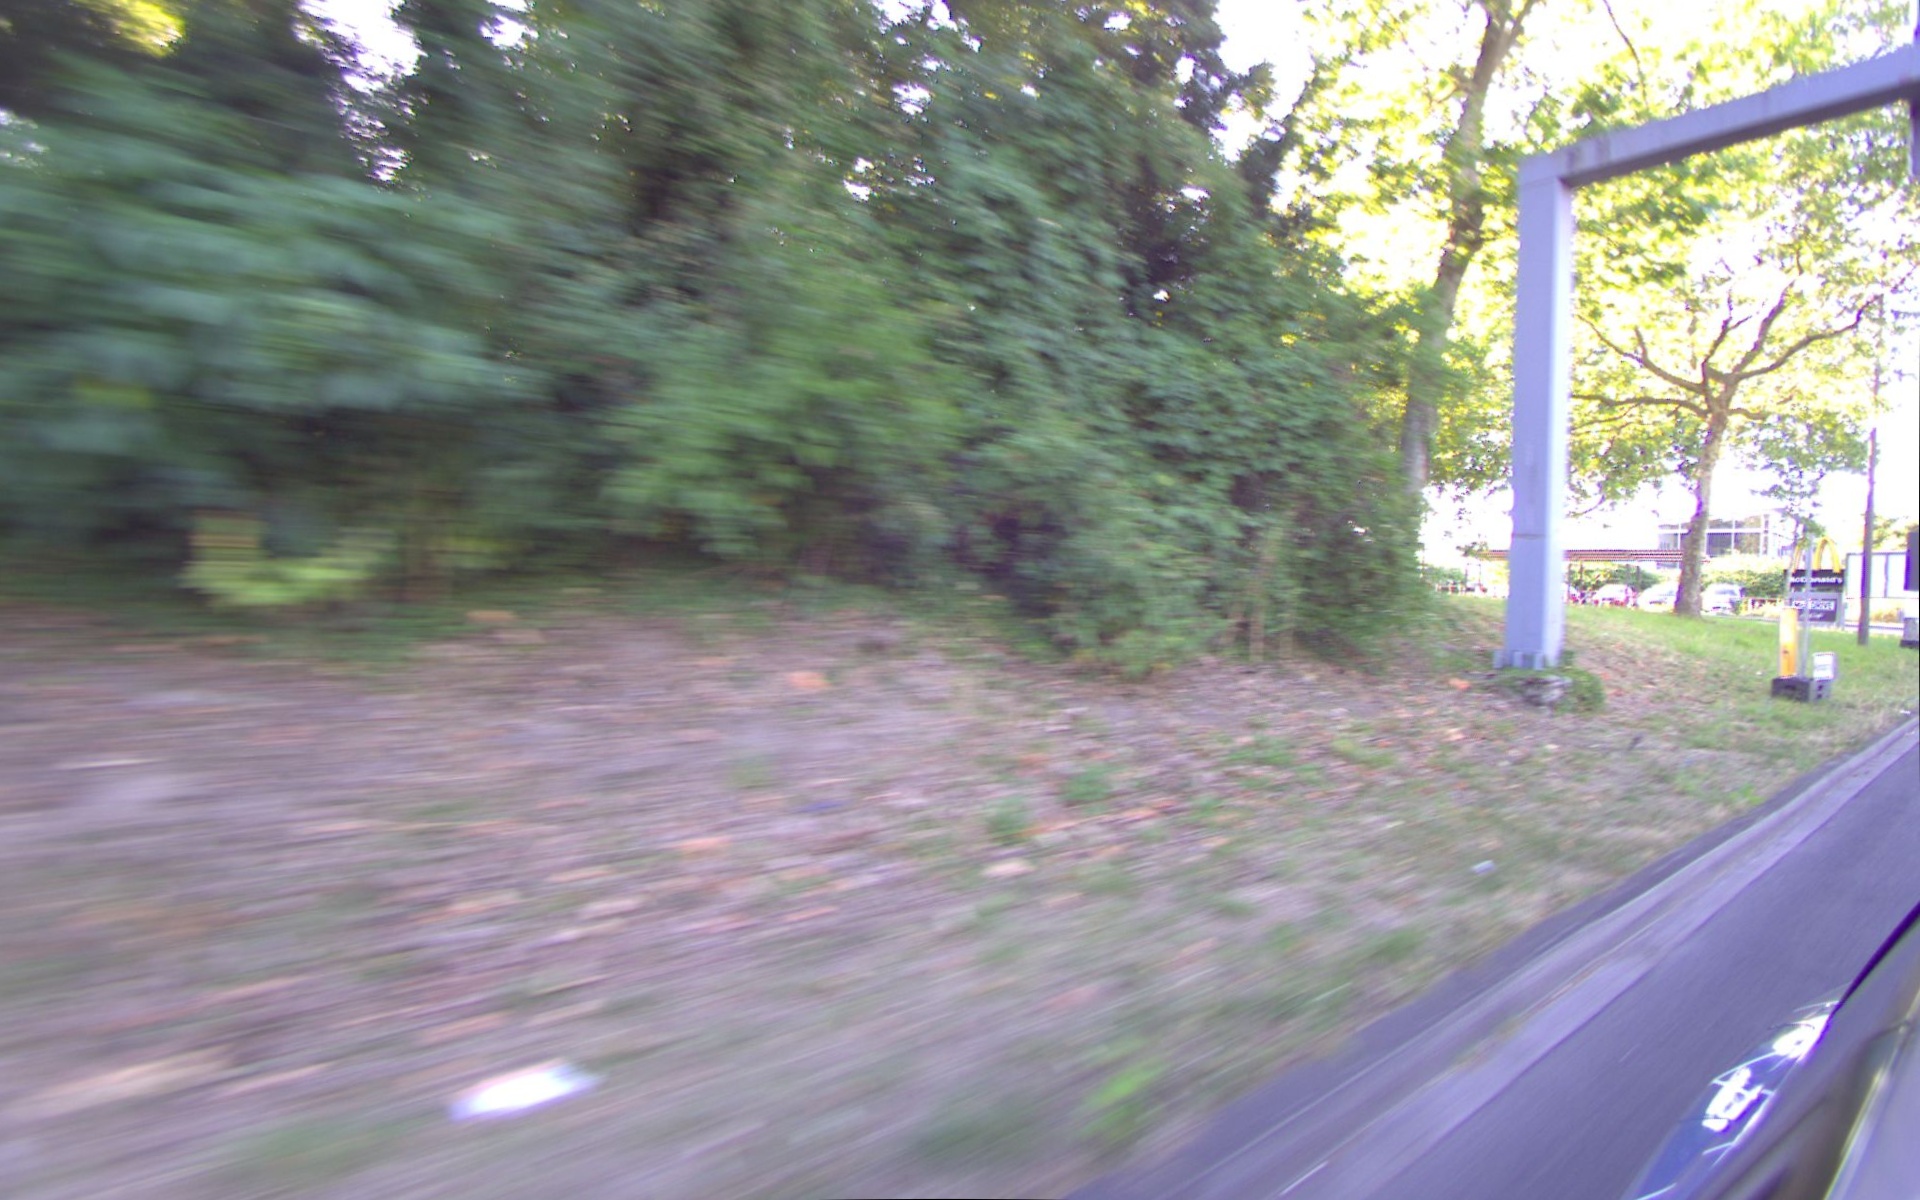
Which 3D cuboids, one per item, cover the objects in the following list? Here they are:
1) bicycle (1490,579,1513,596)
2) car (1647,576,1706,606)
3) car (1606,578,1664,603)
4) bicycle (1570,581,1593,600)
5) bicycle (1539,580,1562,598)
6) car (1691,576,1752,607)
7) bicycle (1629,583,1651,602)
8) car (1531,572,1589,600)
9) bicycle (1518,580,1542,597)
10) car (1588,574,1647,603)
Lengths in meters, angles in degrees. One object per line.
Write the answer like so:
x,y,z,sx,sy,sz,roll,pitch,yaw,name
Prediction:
34.282,-0.790,64.068,1.858,1.051,0.544,1,2,-37,bicycle
43.674,-0.551,61.660,3.932,1.669,2.117,1,2,-42,car
50.246,-0.712,75.311,3.921,1.657,2.123,1,2,-32,car
37.161,-0.563,60.512,1.860,1.051,0.543,0,2,-40,bicycle
36.186,-0.666,62.006,1.858,1.051,0.544,1,2,-37,bicycle
45.230,-0.481,60.097,4.155,1.669,2.117,1,2,-42,car
39.086,-0.407,58.179,1.860,1.051,0.543,0,2,-40,bicycle
39.849,-0.899,67.159,4.246,1.669,2.117,1,2,-42,car
35.461,-0.713,62.950,1.858,1.051,0.544,1,2,-37,bicycle
41.911,-0.716,64.458,4.246,1.669,2.117,1,2,-42,car
